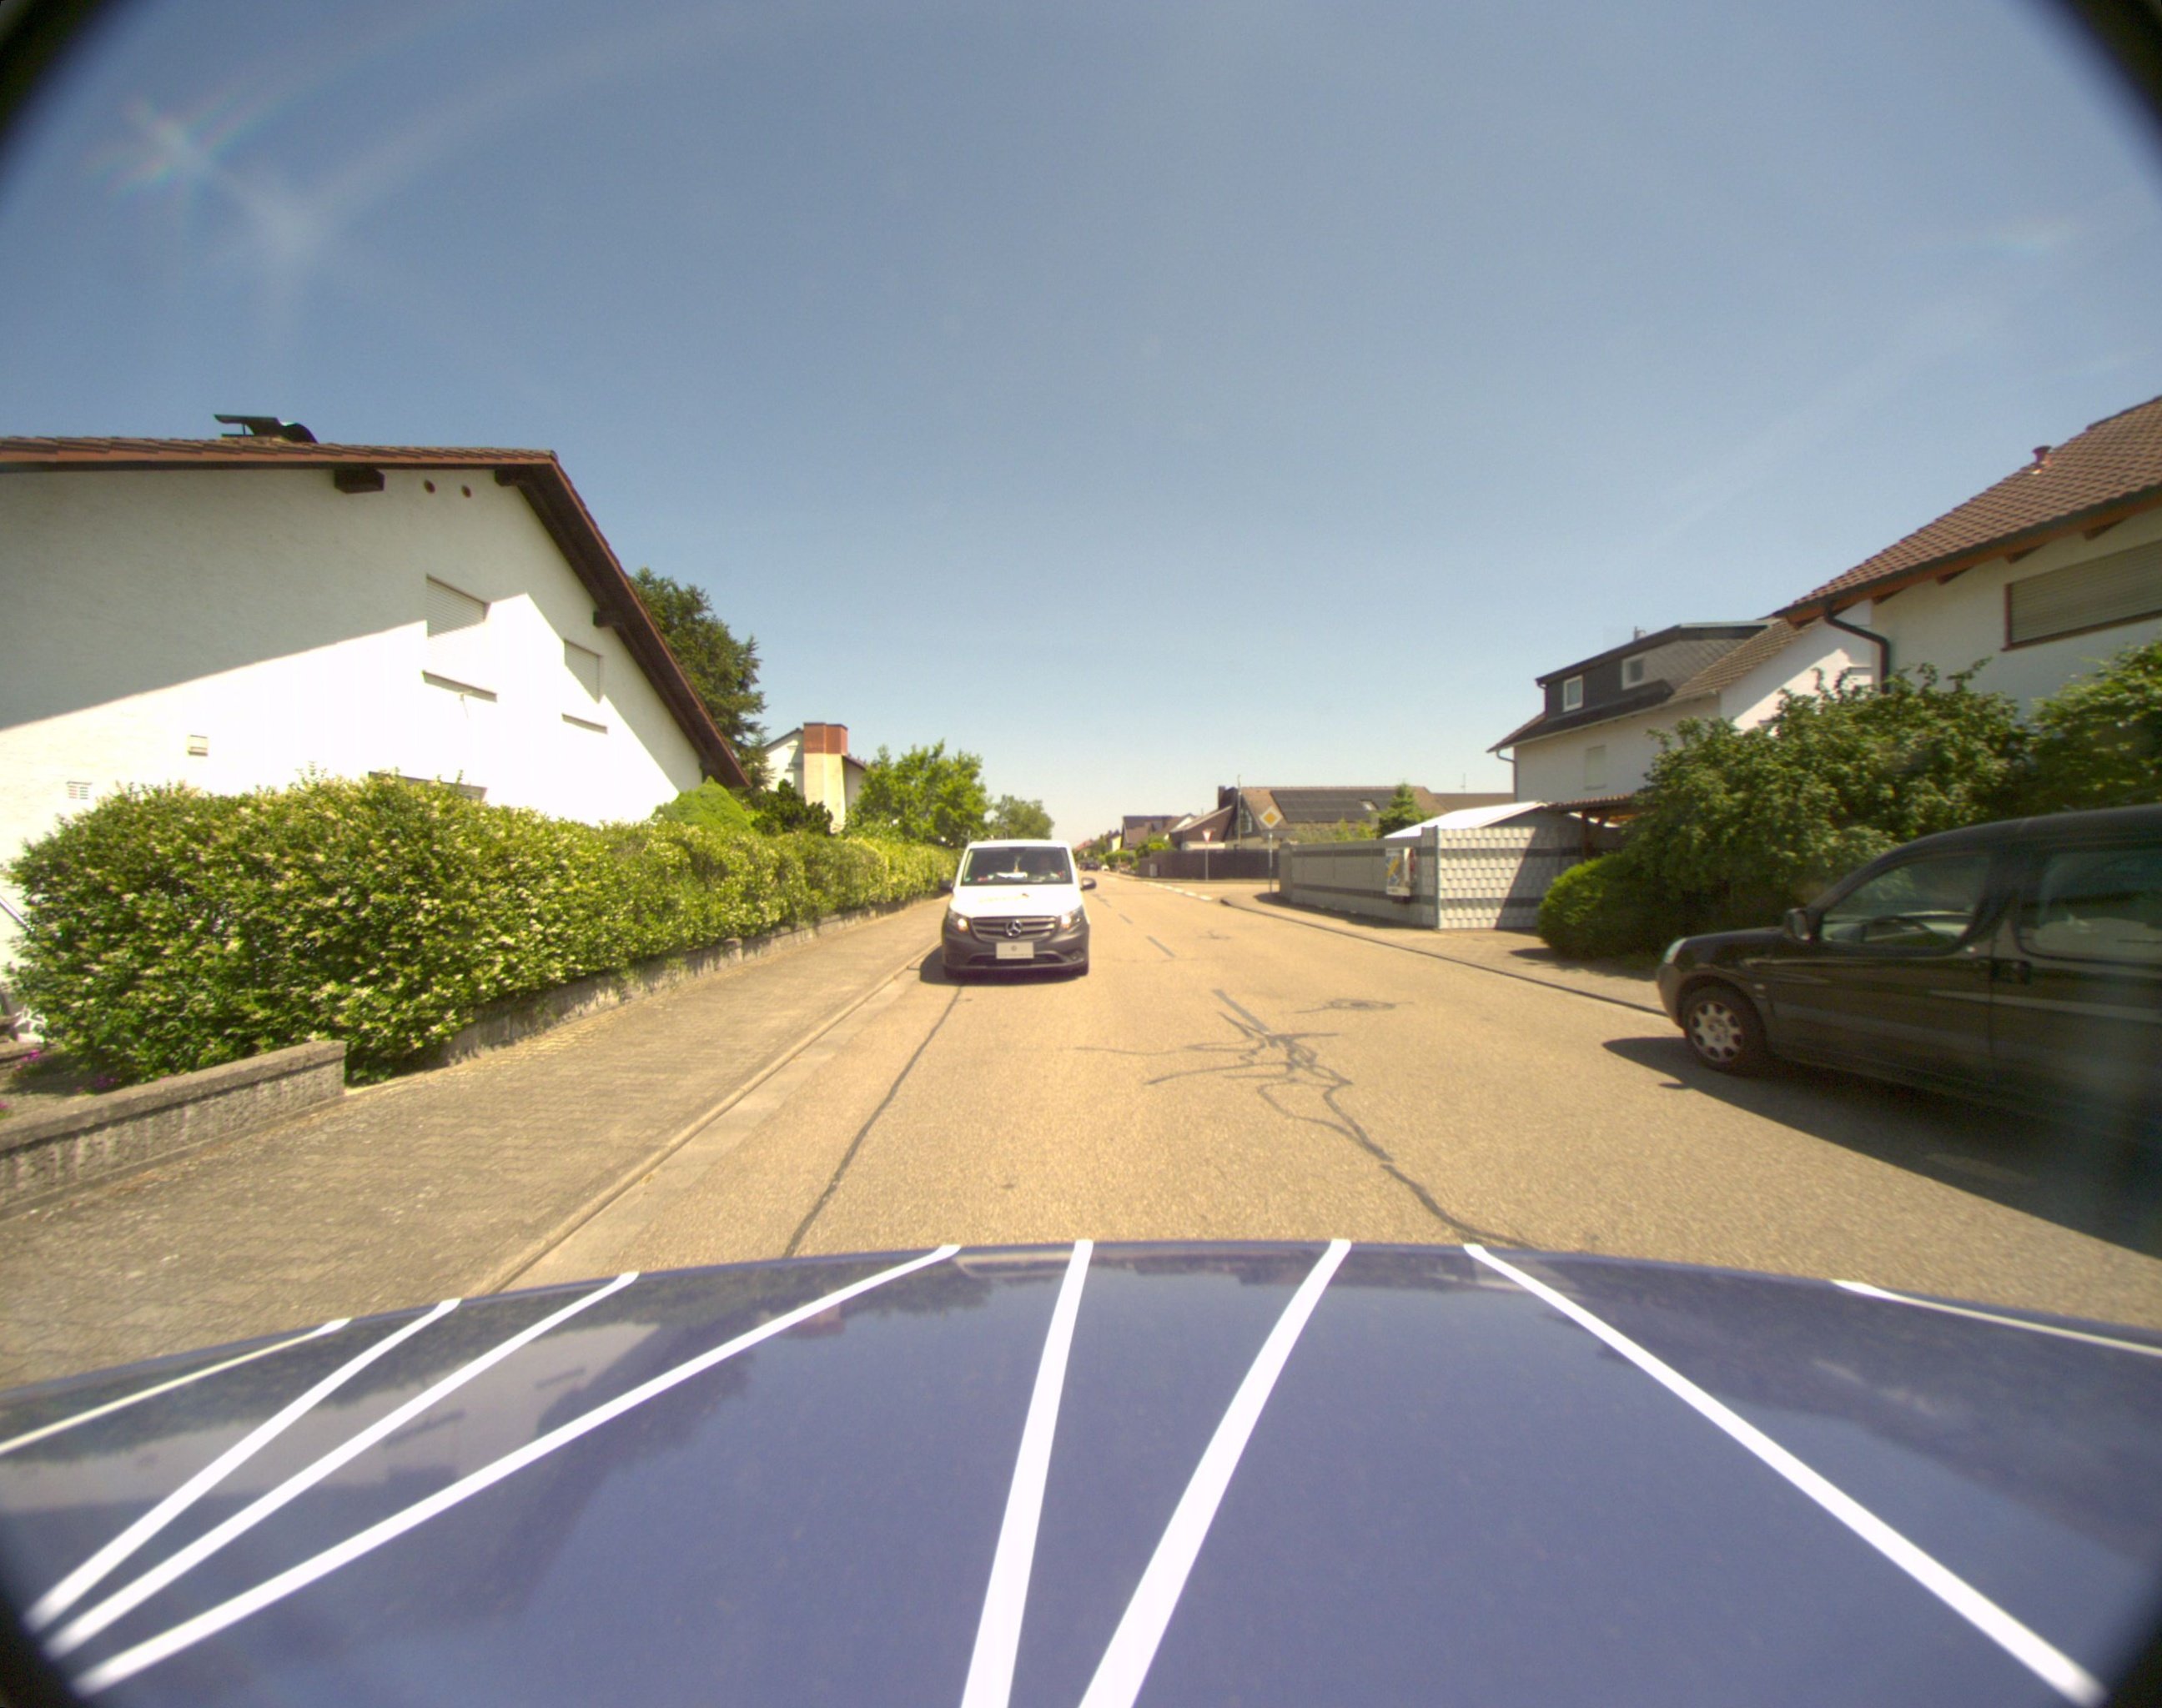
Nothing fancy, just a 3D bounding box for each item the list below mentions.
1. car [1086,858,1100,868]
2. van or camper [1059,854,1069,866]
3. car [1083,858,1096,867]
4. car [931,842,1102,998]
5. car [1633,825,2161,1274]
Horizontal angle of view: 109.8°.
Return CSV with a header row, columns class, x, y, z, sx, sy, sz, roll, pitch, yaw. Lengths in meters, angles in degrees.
class,x,y,z,sx,sy,sz,roll,pitch,yaw
car,1.651,1.218,102.794,1.808,1.390,4.000,-1,0,0
van or camper,-3.878,1.406,175.264,2.070,2.576,4.602,0,0,-3
car,1.271,1.331,118.934,1.998,1.390,4.000,-1,0,0
car,-0.821,0.781,11.599,2.018,1.845,5.067,0,0,-1
car,5.229,0.790,3.881,1.723,1.835,4.053,-1,0,-3
